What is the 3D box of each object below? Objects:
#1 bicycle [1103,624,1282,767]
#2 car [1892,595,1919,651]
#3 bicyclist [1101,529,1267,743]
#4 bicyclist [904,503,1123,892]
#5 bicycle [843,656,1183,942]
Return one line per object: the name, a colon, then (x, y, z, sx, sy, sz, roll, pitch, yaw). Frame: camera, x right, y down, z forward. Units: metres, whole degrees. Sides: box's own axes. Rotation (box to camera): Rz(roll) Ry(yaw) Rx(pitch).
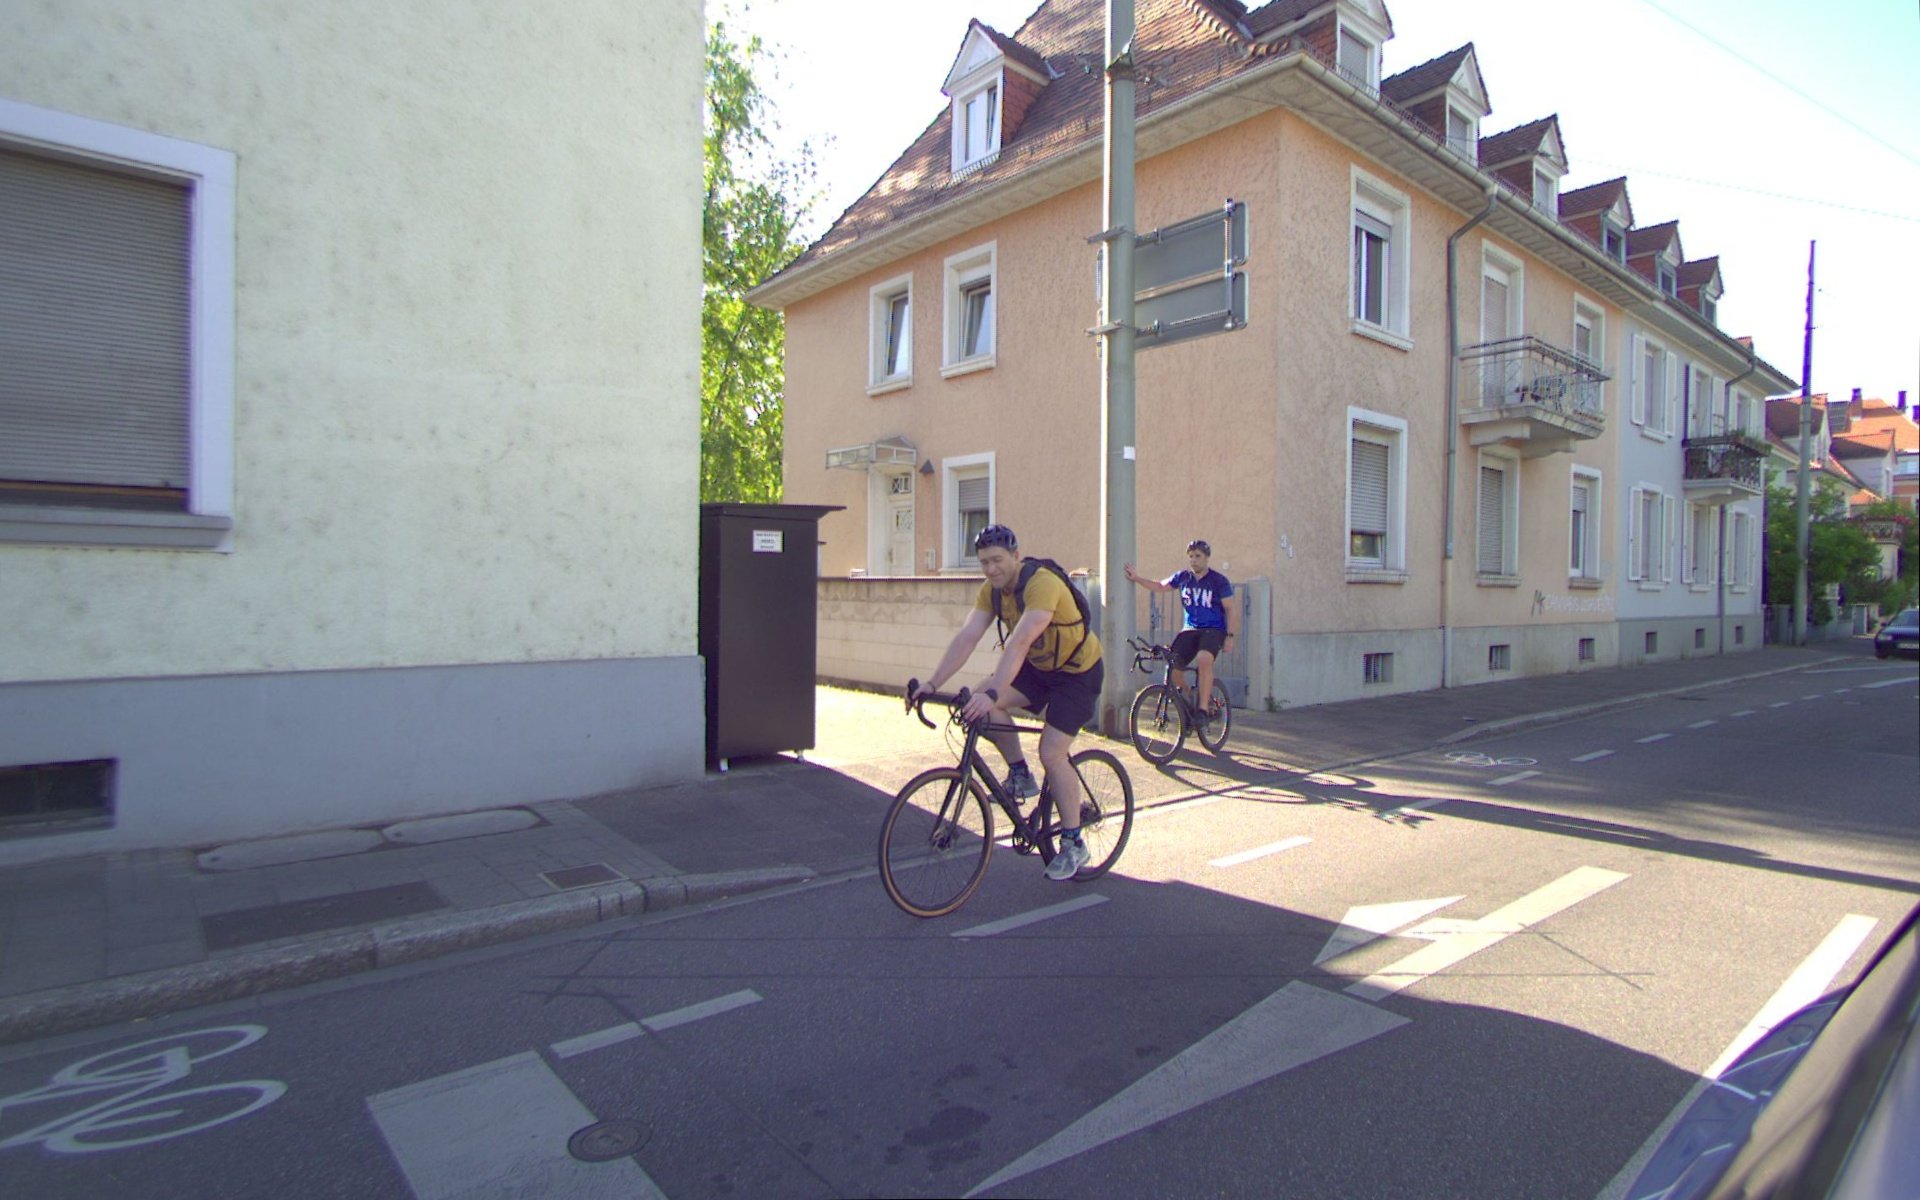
bicycle: (2.087, 0.796, 8.989, 1.689, 1.064, 0.595, 0, 6, -41)
car: (26.650, 0.613, 27.321, 3.932, 1.438, 1.845, 0, 1, -42)
bicyclist: (2.030, 0.279, 9.239, 0.838, 1.758, 1.072, 0, 6, -40)
bicyclist: (0.277, 0.428, 5.057, 0.939, 1.743, 0.582, 0, 1, -41)
bicycle: (0.326, 0.887, 5.091, 1.778, 1.101, 0.611, 0, 1, -41)
